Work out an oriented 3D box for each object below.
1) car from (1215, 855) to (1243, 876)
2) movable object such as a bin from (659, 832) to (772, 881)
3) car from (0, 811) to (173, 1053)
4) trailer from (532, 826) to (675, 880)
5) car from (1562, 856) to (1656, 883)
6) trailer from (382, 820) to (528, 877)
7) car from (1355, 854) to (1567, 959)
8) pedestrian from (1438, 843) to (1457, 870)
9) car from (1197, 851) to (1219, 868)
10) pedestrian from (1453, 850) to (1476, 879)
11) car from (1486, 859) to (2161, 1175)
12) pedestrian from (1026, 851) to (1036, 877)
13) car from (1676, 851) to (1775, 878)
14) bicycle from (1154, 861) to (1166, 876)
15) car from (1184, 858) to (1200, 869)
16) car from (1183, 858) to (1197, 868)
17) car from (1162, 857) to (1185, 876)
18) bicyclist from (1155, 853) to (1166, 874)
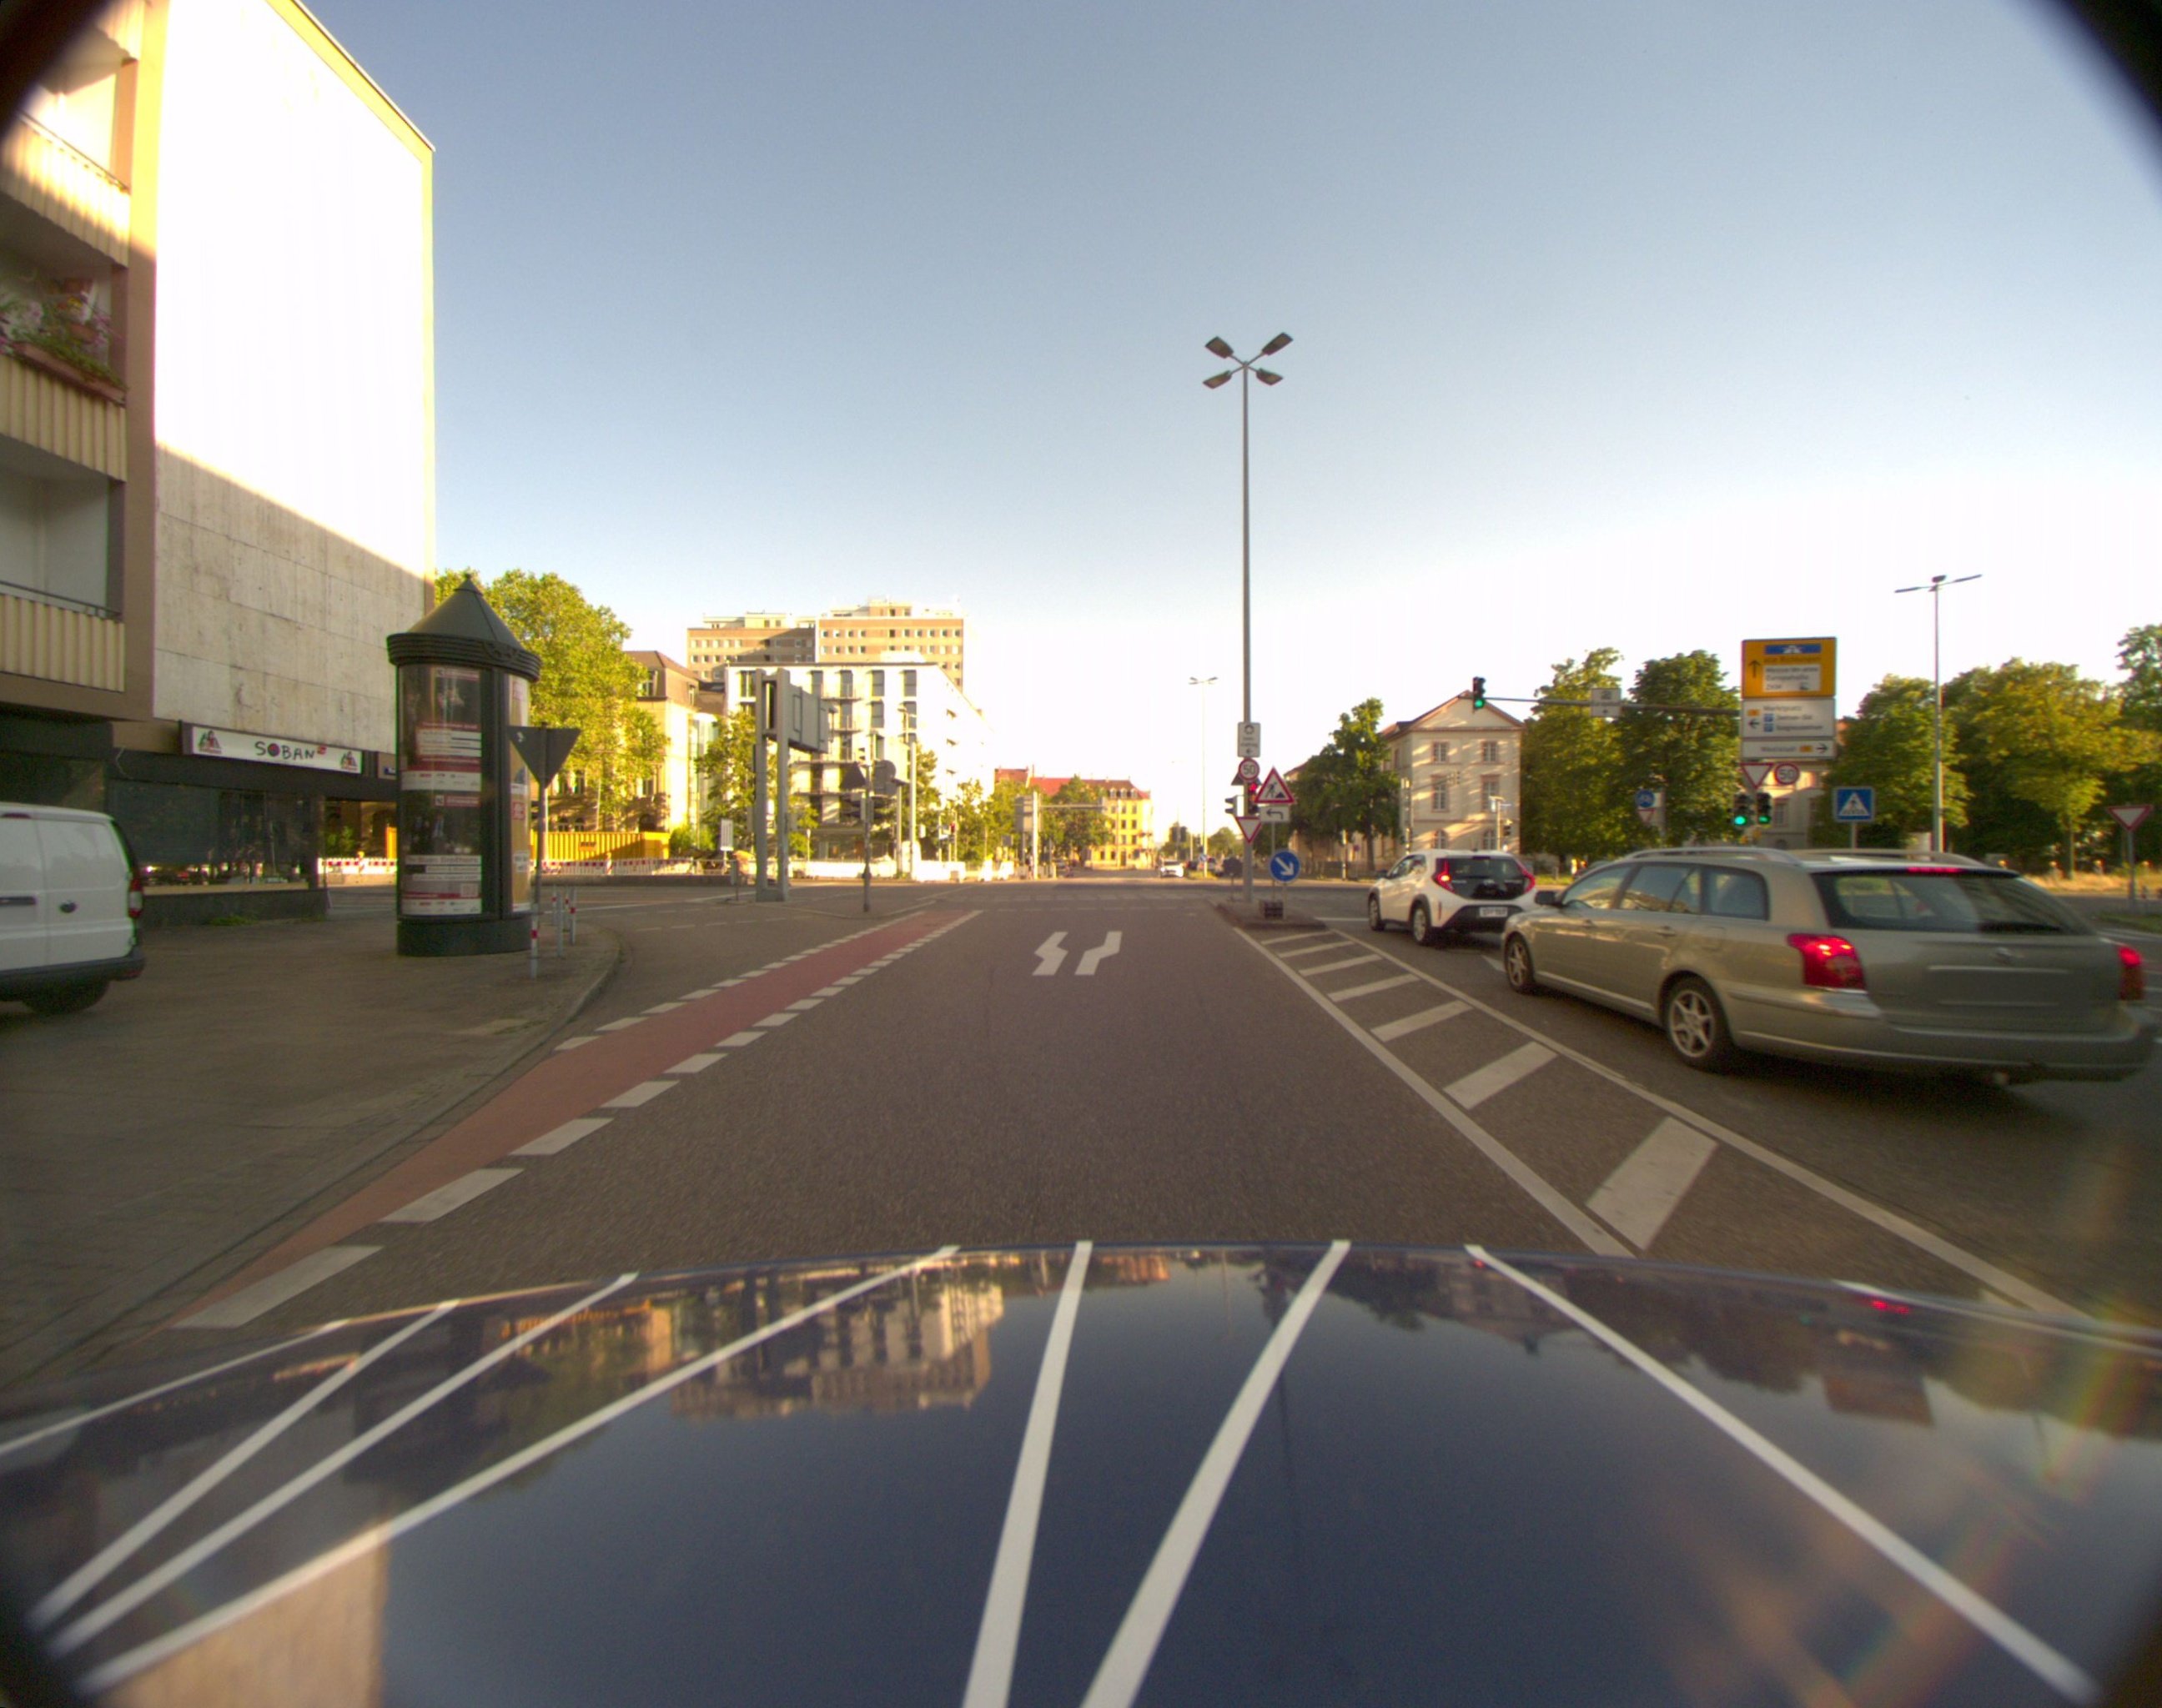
[{"bbox_3d":[12.397,0.926,63.916,1.831,1.696,4.443,0,0,5],"label":"car"},{"bbox_3d":[-19.827,0.136,41.309,5.209,2.578,2.001,0,0,4],"label":"movable object such as a bin"},{"bbox_3d":[-10.071,0.580,5.831,4.097,1.803,1.862,0,0,3],"label":"car"},{"bbox_3d":[-25.915,-0.031,41.434,6.126,2.851,2.541,0,0,-1],"label":"trailer"},{"bbox_3d":[28.322,0.828,40.868,3.644,1.437,2.000,0,0,1],"label":"car"},{"bbox_3d":[-34.033,-0.303,41.428,6.124,2.998,2.408,0,0,3],"label":"trailer"},{"bbox_3d":[6.010,0.740,12.573,1.831,1.452,3.904,0,0,5],"label":"car"},{"bbox_3d":[23.651,0.147,48.999,0.678,1.698,1.084,0,0,-3],"label":"pedestrian"},{"bbox_3d":[13.649,0.569,81.797,1.832,1.836,4.948,0,0,3],"label":"car"},{"bbox_3d":[24.733,0.688,49.024,0.820,1.838,1.169,0,0,-3],"label":"pedestrian"},{"bbox_3d":[5.062,0.799,5.976,1.831,1.505,4.607,0,0,8],"label":"car"},{"bbox_3d":[-3.540,0.692,54.026,0.500,1.866,0.601,0,0,-24],"label":"pedestrian"},{"bbox_3d":[34.848,0.555,41.169,3.644,1.437,2.000,0,0,1],"label":"car"},{"bbox_3d":[6.031,1.093,57.892,0.833,1.101,2.081,0,0,3],"label":"bicycle"},{"bbox_3d":[14.884,1.321,102.193,1.764,1.454,4.294,0,0,3],"label":"car"},{"bbox_3d":[16.399,1.369,114.893,1.764,1.454,4.294,0,0,3],"label":"car"},{"bbox_3d":[7.542,1.020,62.394,1.764,1.489,3.710,0,0,5],"label":"car"},{"bbox_3d":[6.052,0.725,57.888,0.838,1.594,1.023,0,0,3],"label":"bicyclist"}]
